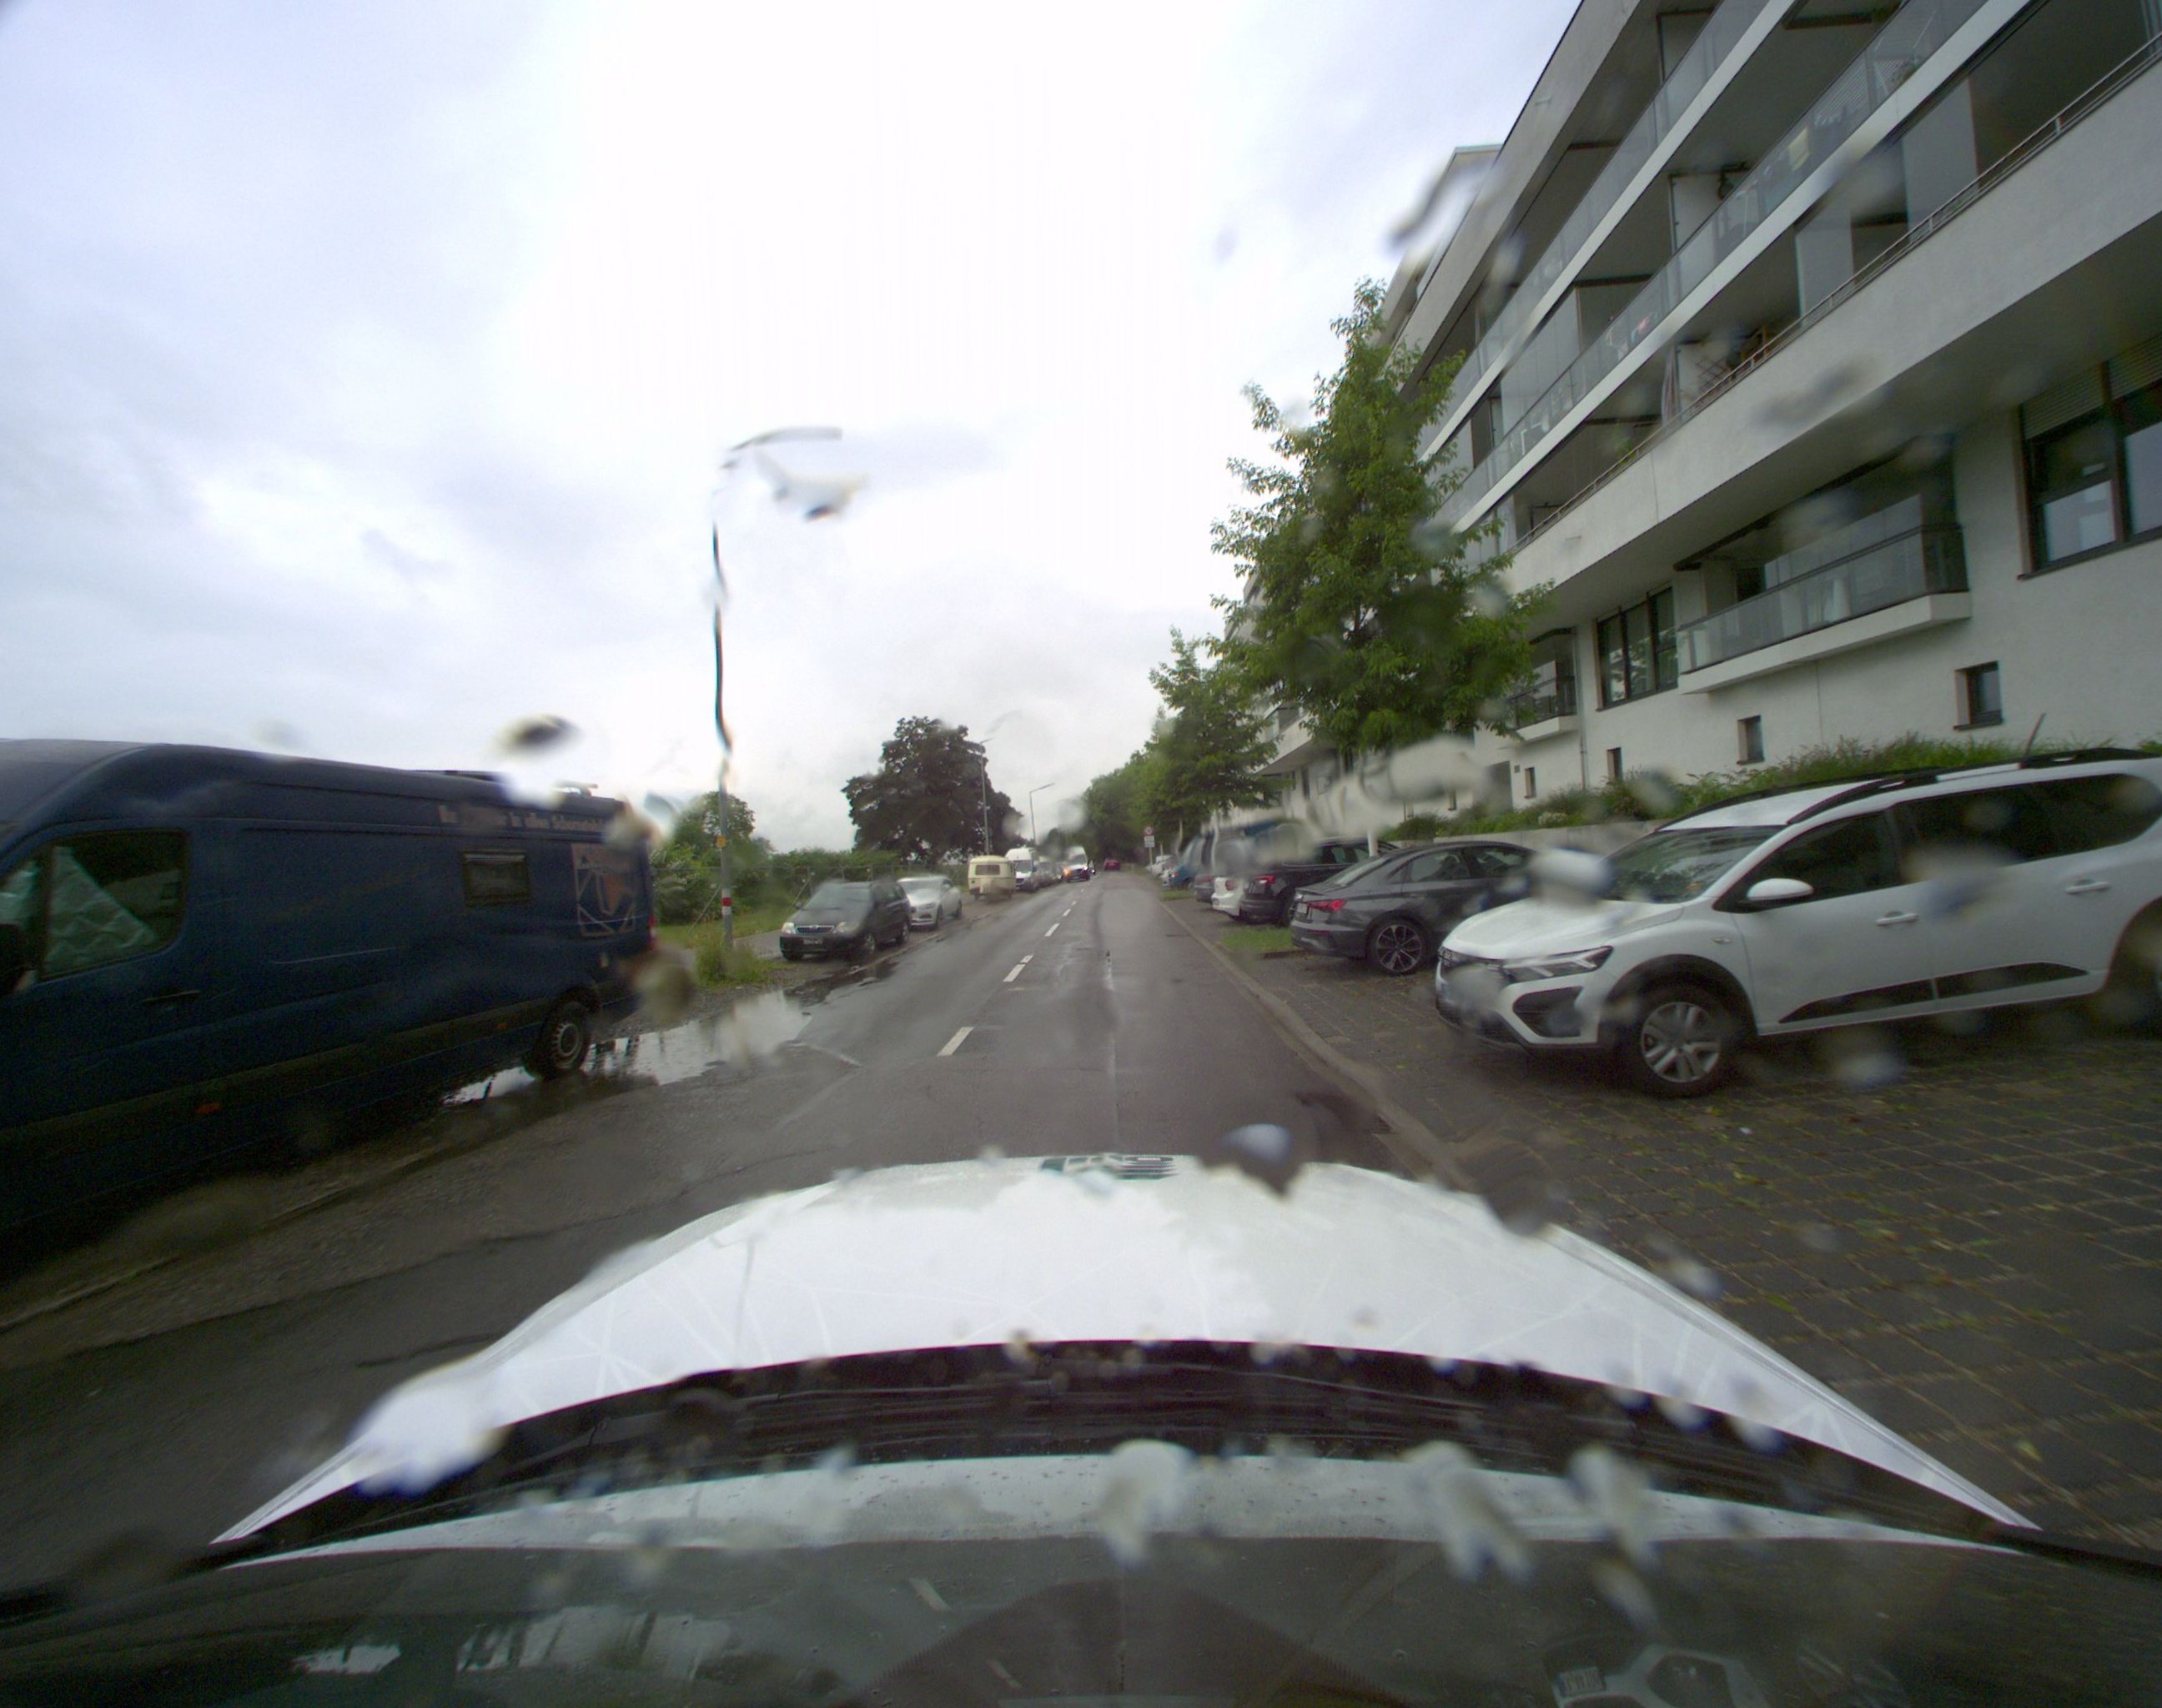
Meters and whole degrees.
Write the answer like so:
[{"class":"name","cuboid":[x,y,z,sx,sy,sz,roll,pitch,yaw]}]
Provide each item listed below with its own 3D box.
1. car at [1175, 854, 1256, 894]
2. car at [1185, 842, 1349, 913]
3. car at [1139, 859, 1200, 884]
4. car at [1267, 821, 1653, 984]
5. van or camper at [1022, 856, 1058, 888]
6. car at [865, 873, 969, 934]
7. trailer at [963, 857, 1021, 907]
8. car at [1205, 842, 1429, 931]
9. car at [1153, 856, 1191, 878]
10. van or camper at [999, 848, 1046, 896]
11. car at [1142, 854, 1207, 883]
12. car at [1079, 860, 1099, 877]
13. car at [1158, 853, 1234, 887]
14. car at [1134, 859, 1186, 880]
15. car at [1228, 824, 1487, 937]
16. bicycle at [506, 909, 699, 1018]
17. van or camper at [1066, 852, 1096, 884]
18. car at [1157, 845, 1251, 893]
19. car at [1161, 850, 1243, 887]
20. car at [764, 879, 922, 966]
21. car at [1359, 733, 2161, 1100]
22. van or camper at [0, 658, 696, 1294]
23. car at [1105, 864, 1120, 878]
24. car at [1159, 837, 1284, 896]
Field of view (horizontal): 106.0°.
[{"class":"car","cuboid":[5.800,0.853,35.311,3.244,1.482,1.317,-4,-1,0]},{"class":"car","cuboid":[5.048,0.640,22.418,4.019,1.499,1.631,-5,-1,-2]},{"class":"car","cuboid":[6.753,1.326,62.557,4.372,1.633,2.006,-4,-1,1]},{"class":"car","cuboid":[4.556,0.554,10.235,3.972,1.509,1.685,-5,0,1]},{"class":"van or camper","cuboid":[-3.272,1.449,66.284,2.180,2.462,6.380,-2,-1,3]},{"class":"car","cuboid":[-4.710,1.377,24.178,1.880,1.526,5.110,-1,-1,1]},{"class":"trailer","cuboid":[-4.314,1.309,40.310,2.052,2.218,5.794,-2,-1,1]},{"class":"car","cuboid":[4.999,0.678,17.639,4.286,1.428,1.636,-5,-1,-1]},{"class":"car","cuboid":[10.417,1.465,93.162,3.952,2.293,1.786,-3,-1,22]},{"class":"van or camper","cuboid":[-3.655,1.125,52.326,1.985,2.762,7.902,-2,-1,3]},{"class":"car","cuboid":[6.631,1.017,58.058,4.372,1.776,2.006,-4,-1,1]},{"class":"car","cuboid":[0.902,1.578,91.881,1.874,1.757,4.071,-4,-1,3]},{"class":"car","cuboid":[6.403,0.896,45.655,3.875,1.600,1.861,-4,-1,-4]},{"class":"car","cuboid":[6.808,1.340,70.530,4.085,1.575,1.864,-4,-1,-5]},{"class":"car","cuboid":[5.082,0.482,15.414,4.149,1.624,1.897,-5,-1,-1]},{"class":"bicycle","cuboid":[-6.609,1.463,11.495,0.691,1.150,2.689,-2,0,12]},{"class":"van or camper","cuboid":[0.047,1.242,70.859,1.985,2.497,7.183,-5,-1,3]},{"class":"car","cuboid":[5.713,0.699,38.100,4.077,1.894,1.728,-5,-1,3]},{"class":"car","cuboid":[6.358,0.774,43.072,3.875,1.681,1.861,-3,-1,-4]},{"class":"car","cuboid":[-4.919,1.350,17.624,1.767,1.503,4.830,-2,-1,3]},{"class":"car","cuboid":[4.610,0.356,5.816,4.462,1.686,1.936,-7,0,0]},{"class":"van or camper","cuboid":[-5.639,0.591,5.808,2.087,2.716,7.573,-1,-1,1]},{"class":"car","cuboid":[4.245,2.244,108.485,1.748,1.706,4.004,-4,-1,4]},{"class":"car","cuboid":[5.626,0.513,32.934,4.607,2.019,1.856,-4,-1,-3]}]
